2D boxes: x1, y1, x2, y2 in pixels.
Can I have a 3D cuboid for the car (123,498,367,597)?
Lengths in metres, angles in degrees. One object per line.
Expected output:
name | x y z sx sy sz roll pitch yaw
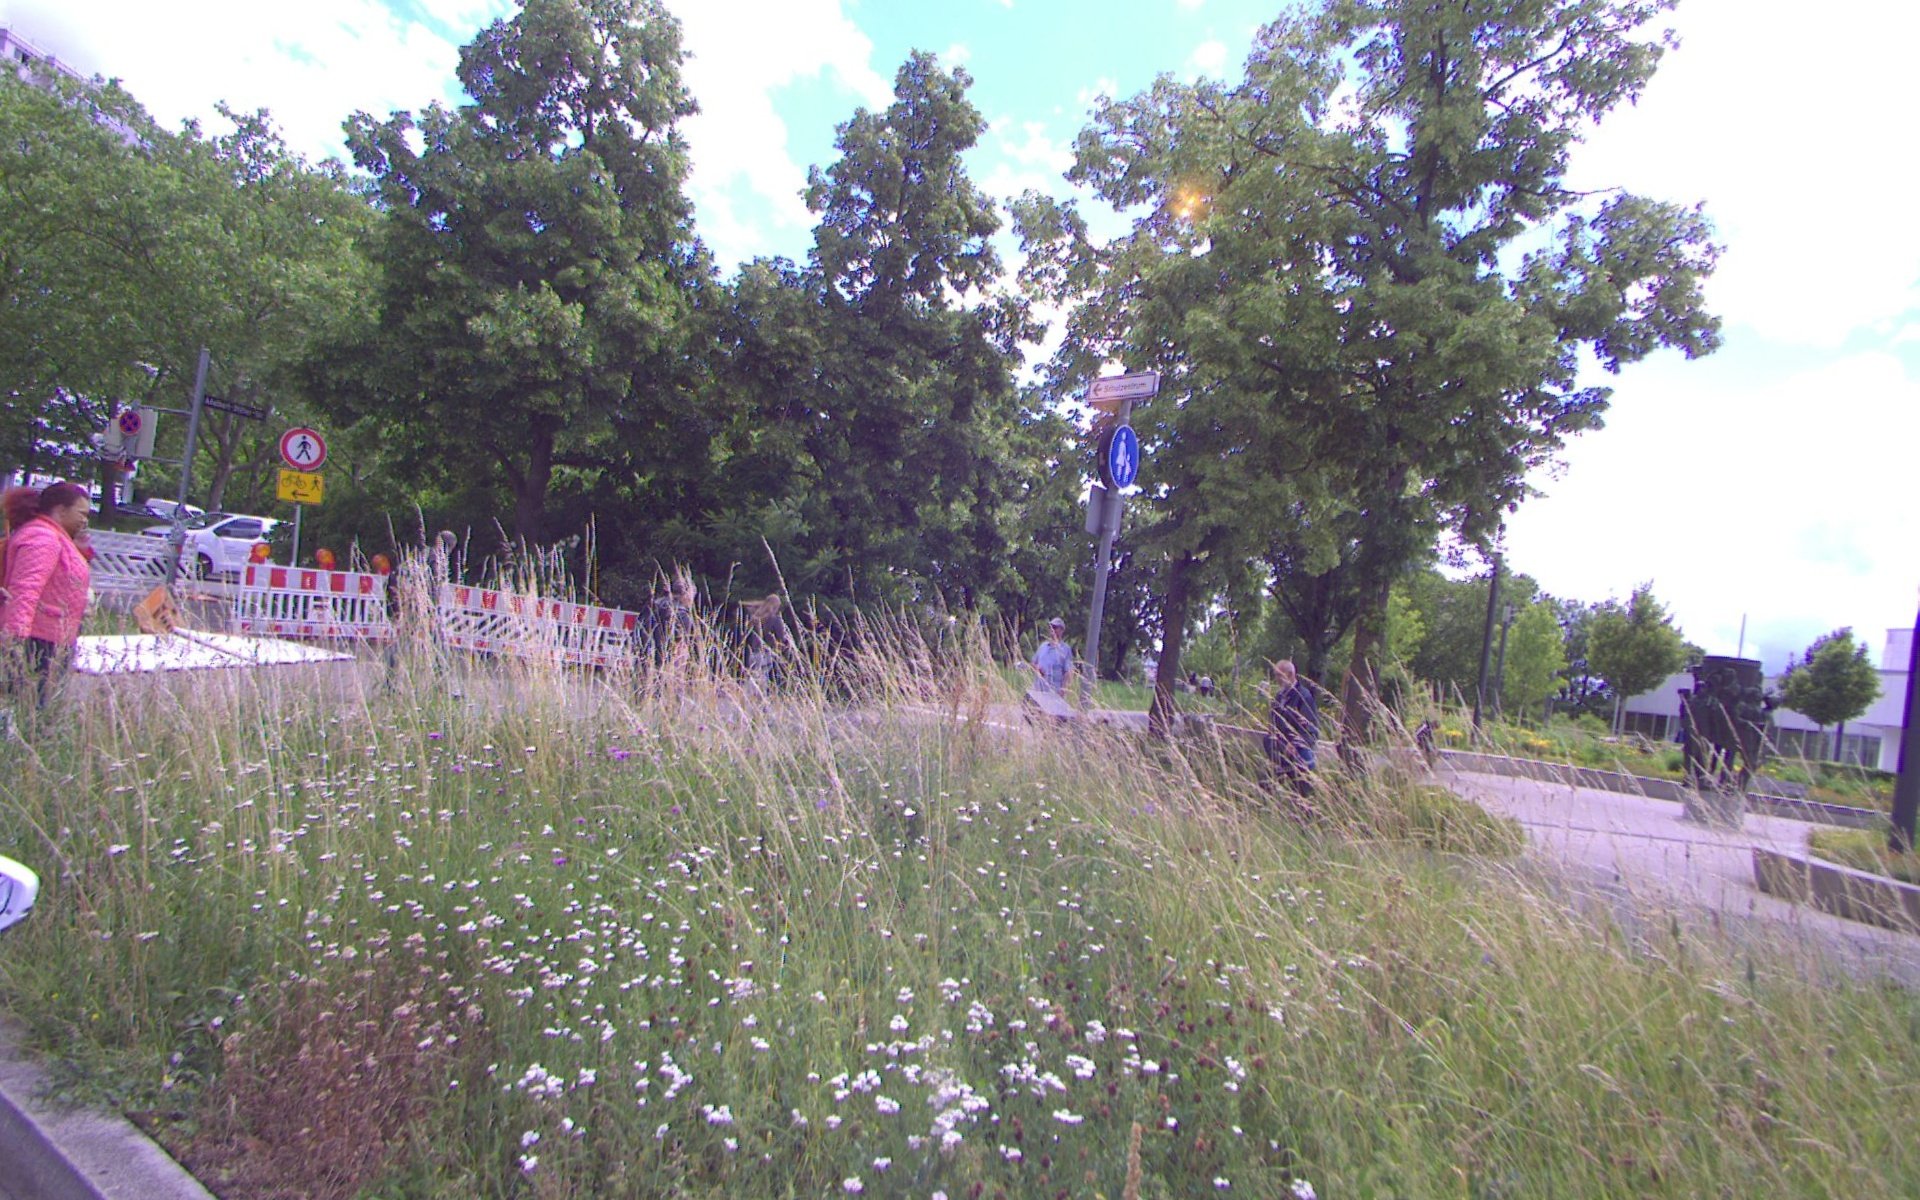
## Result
car | -19.711 -1.385 28.047 1.915 1.895 5.090 7 -2 28

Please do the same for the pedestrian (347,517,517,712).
pedestrian | -5.310 0.163 10.148 0.914 1.794 1.004 7 -1 32

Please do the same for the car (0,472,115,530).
car | -43.690 -4.774 48.565 3.926 2.037 2.001 8 -1 0

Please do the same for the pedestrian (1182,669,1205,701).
pedestrian | 13.250 4.839 57.035 0.872 1.681 0.817 8 -1 30

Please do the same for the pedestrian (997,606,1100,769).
pedestrian | 1.094 1.070 12.379 0.760 1.862 0.763 7 -1 35

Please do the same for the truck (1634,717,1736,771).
truck | 37.323 7.395 51.921 1.965 2.037 3.999 8 -1 -4

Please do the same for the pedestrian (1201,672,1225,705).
pedestrian | 14.317 5.018 56.905 0.879 1.732 0.817 8 -1 30

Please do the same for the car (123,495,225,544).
car | -44.239 -4.525 56.685 3.926 2.037 2.001 8 -1 0

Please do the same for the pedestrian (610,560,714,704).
pedestrian | -3.944 0.426 13.317 0.815 1.763 0.782 7 -1 36

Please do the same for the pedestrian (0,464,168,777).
pedestrian | -5.032 0.093 5.399 0.734 1.573 0.882 7 -1 32

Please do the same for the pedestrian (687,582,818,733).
pedestrian | -2.519 0.704 12.227 0.915 1.667 1.021 7 -1 37

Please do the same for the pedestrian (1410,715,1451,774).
pedestrian | 10.837 3.317 23.188 0.623 1.236 0.618 7 -1 36

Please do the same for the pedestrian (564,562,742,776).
pedestrian | -2.659 0.597 8.763 0.866 1.667 0.960 7 -1 32

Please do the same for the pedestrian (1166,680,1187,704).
pedestrian | 15.596 6.639 72.447 1.135 1.571 0.818 8 -1 -2

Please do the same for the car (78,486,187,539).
car | -43.784 -4.598 53.282 3.926 2.037 2.001 8 -1 0

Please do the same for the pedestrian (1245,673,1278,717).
pedestrian | 15.020 4.742 50.091 1.137 2.037 0.817 8 0 30

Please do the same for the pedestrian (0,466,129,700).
pedestrian | -7.005 -0.141 7.489 0.915 1.626 0.913 7 -1 36

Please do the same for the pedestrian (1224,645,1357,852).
pedestrian | 2.903 1.275 8.915 0.750 1.644 0.773 8 -1 3
